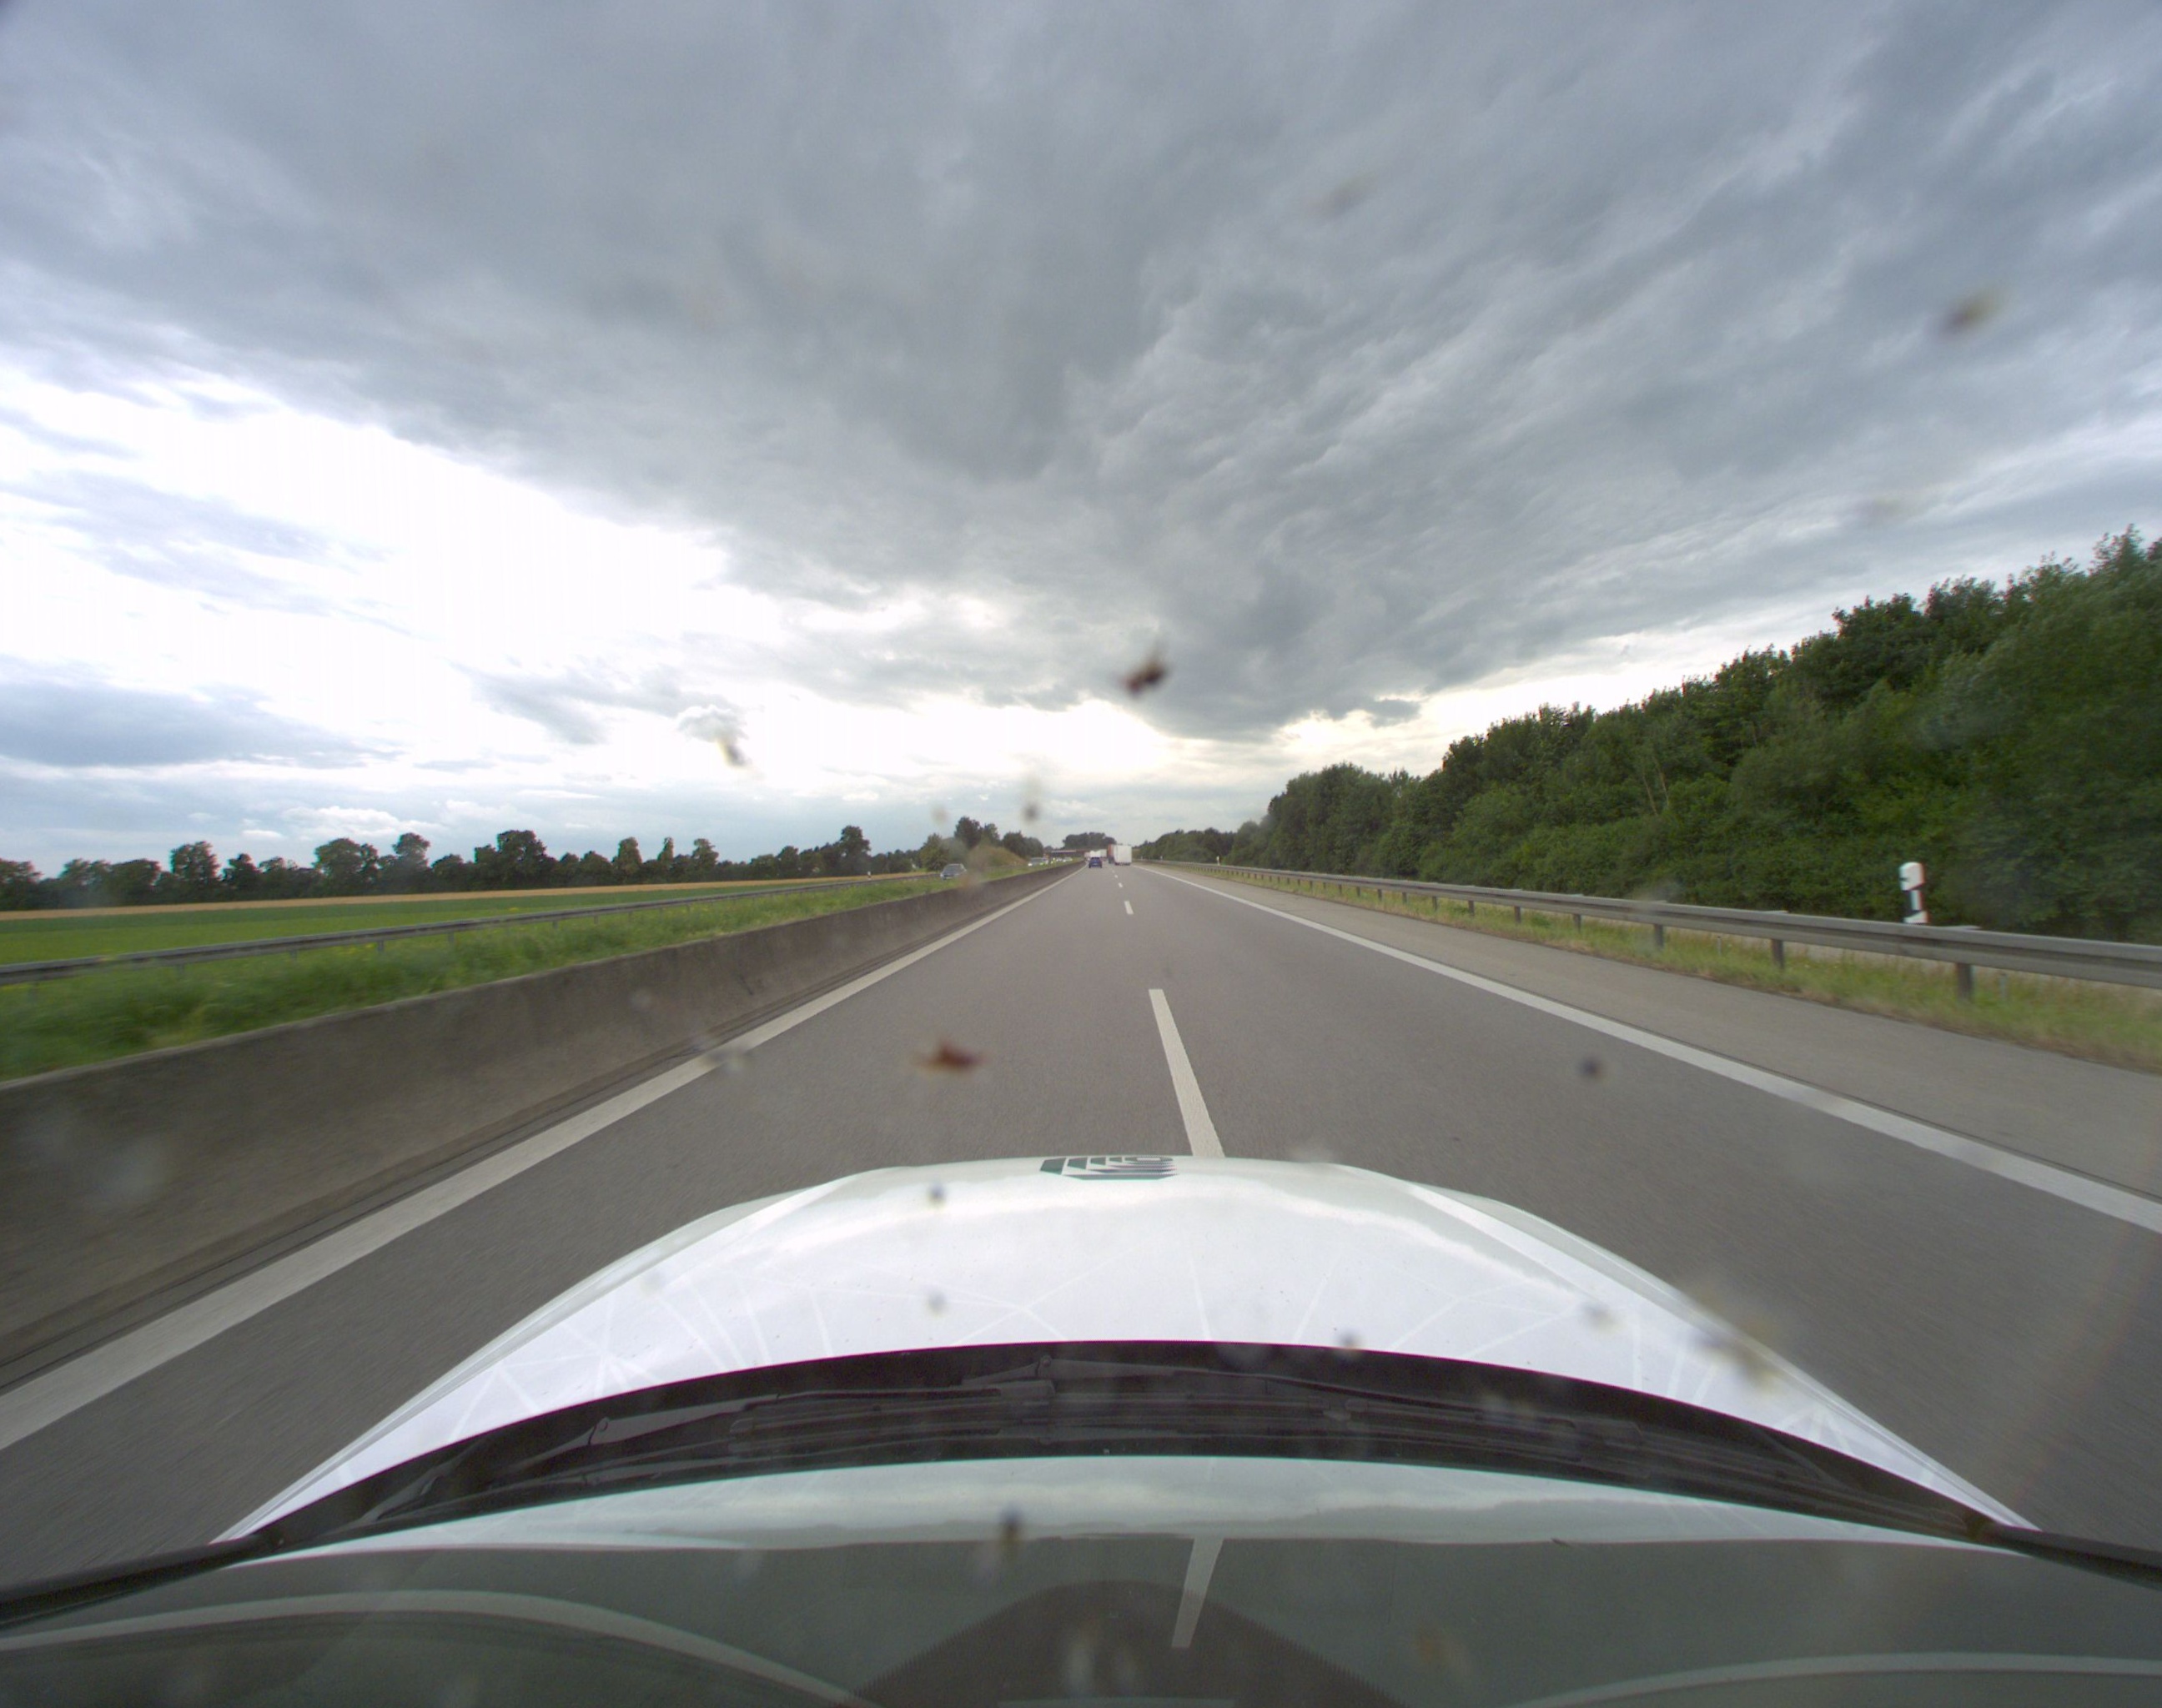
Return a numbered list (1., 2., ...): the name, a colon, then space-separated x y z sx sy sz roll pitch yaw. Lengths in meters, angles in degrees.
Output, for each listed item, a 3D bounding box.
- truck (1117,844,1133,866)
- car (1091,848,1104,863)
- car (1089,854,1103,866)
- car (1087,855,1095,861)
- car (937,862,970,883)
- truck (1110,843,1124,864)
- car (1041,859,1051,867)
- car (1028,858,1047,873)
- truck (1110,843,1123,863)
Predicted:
1. truck: 6.858 0.150 128.130 2.406 3.222 7.147 -1 -1 2
2. car: 2.937 0.324 146.563 2.122 2.483 5.840 -2 -1 1
3. car: 1.956 0.778 105.064 1.658 1.407 3.647 -1 0 0
4. car: 3.089 1.303 254.314 1.989 1.684 3.996 -1 -1 -3
5. car: -10.152 1.458 65.330 1.740 1.487 4.531 -4 0 1
6. truck: 7.227 -0.121 165.201 2.663 4.045 11.113 -2 0 2
7. car: -7.196 1.808 167.283 1.829 1.626 4.691 -4 0 1
8. car: -5.213 1.358 98.617 1.834 1.694 4.359 -4 0 1
9. truck: 7.442 -0.136 170.619 2.663 4.045 5.515 -2 0 2
